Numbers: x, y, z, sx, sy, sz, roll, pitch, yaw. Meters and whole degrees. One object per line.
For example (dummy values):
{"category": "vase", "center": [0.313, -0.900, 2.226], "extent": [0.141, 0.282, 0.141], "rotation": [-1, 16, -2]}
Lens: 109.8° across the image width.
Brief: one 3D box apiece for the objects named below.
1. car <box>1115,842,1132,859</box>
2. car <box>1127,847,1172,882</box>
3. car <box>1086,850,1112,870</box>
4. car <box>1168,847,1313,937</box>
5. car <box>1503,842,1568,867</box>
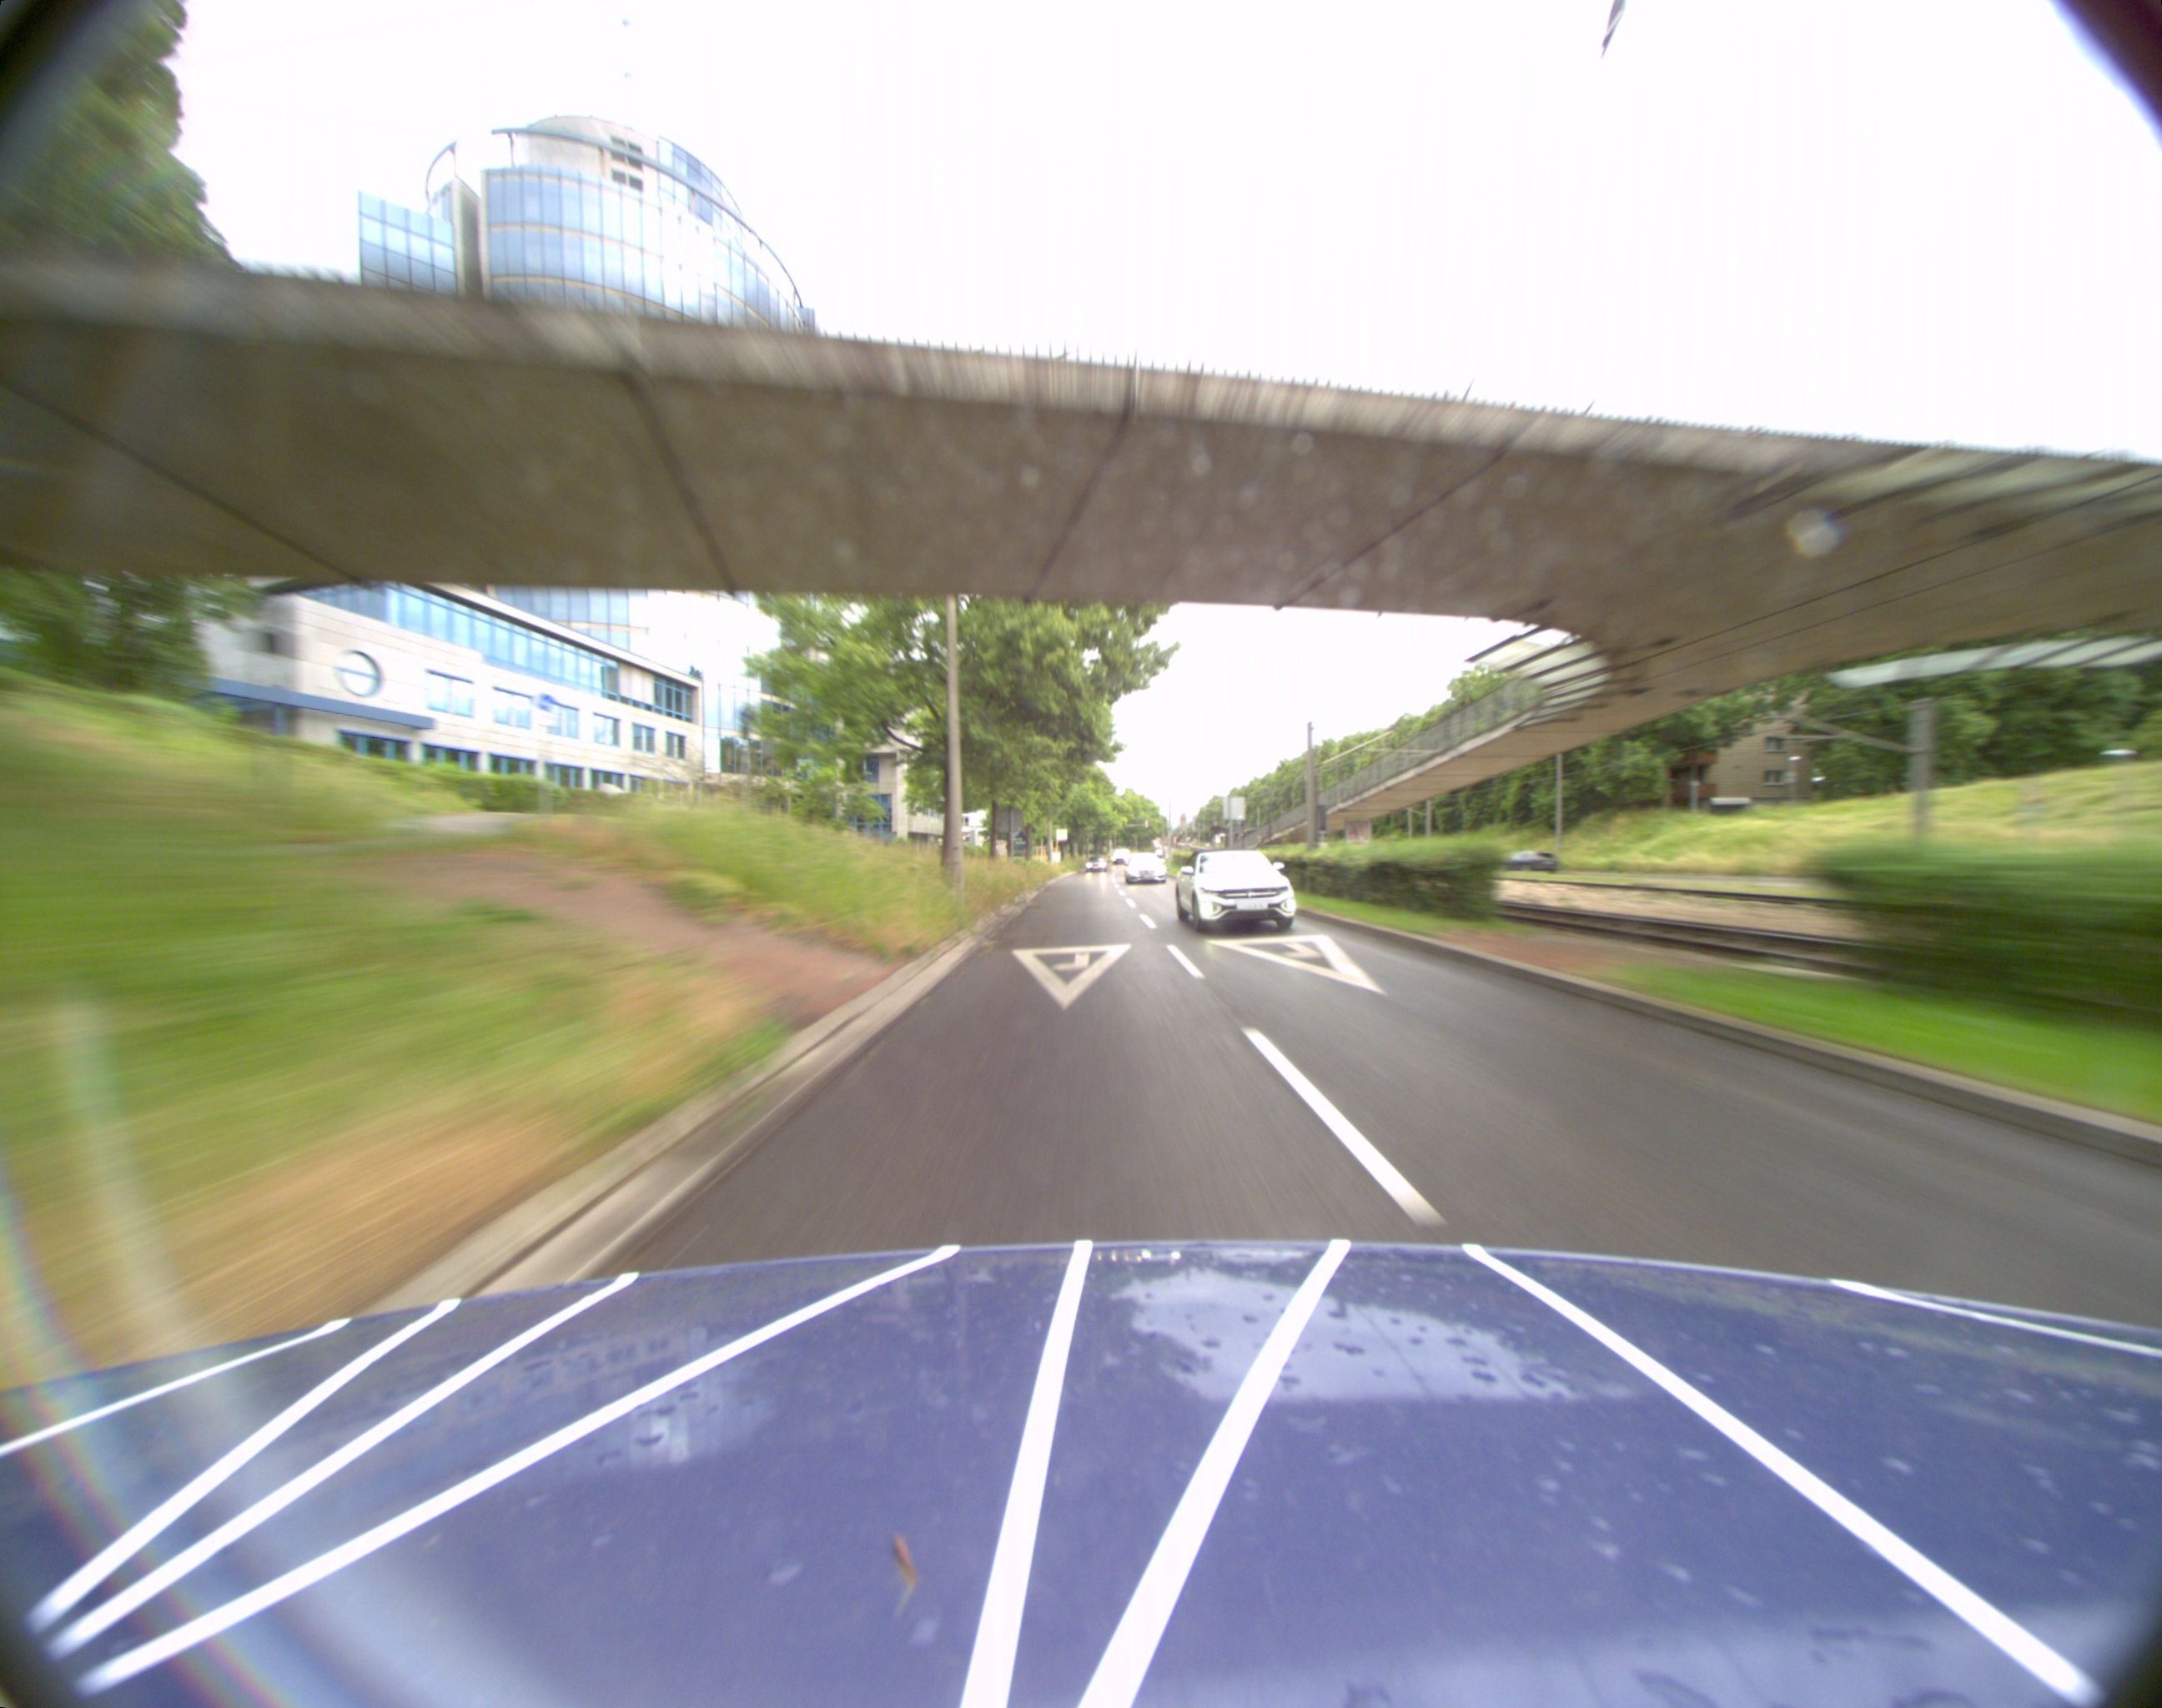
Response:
{"category": "car", "center": [5.517, -0.469, 98.053], "extent": [1.959, 1.914, 4.846], "rotation": [-3, 1, 5]}
{"category": "car", "center": [3.341, 0.466, 37.726], "extent": [1.960, 1.472, 4.699], "rotation": [-3, 1, 3]}
{"category": "car", "center": [1.596, 0.511, 65.811], "extent": [1.960, 1.469, 4.699], "rotation": [-3, 1, 3]}
{"category": "car", "center": [3.036, 0.637, 15.525], "extent": [1.960, 1.457, 4.698], "rotation": [-3, 1, 1]}
{"category": "car", "center": [30.301, -0.024, 50.773], "extent": [1.998, 1.580, 4.207], "rotation": [0, 1, 3]}
